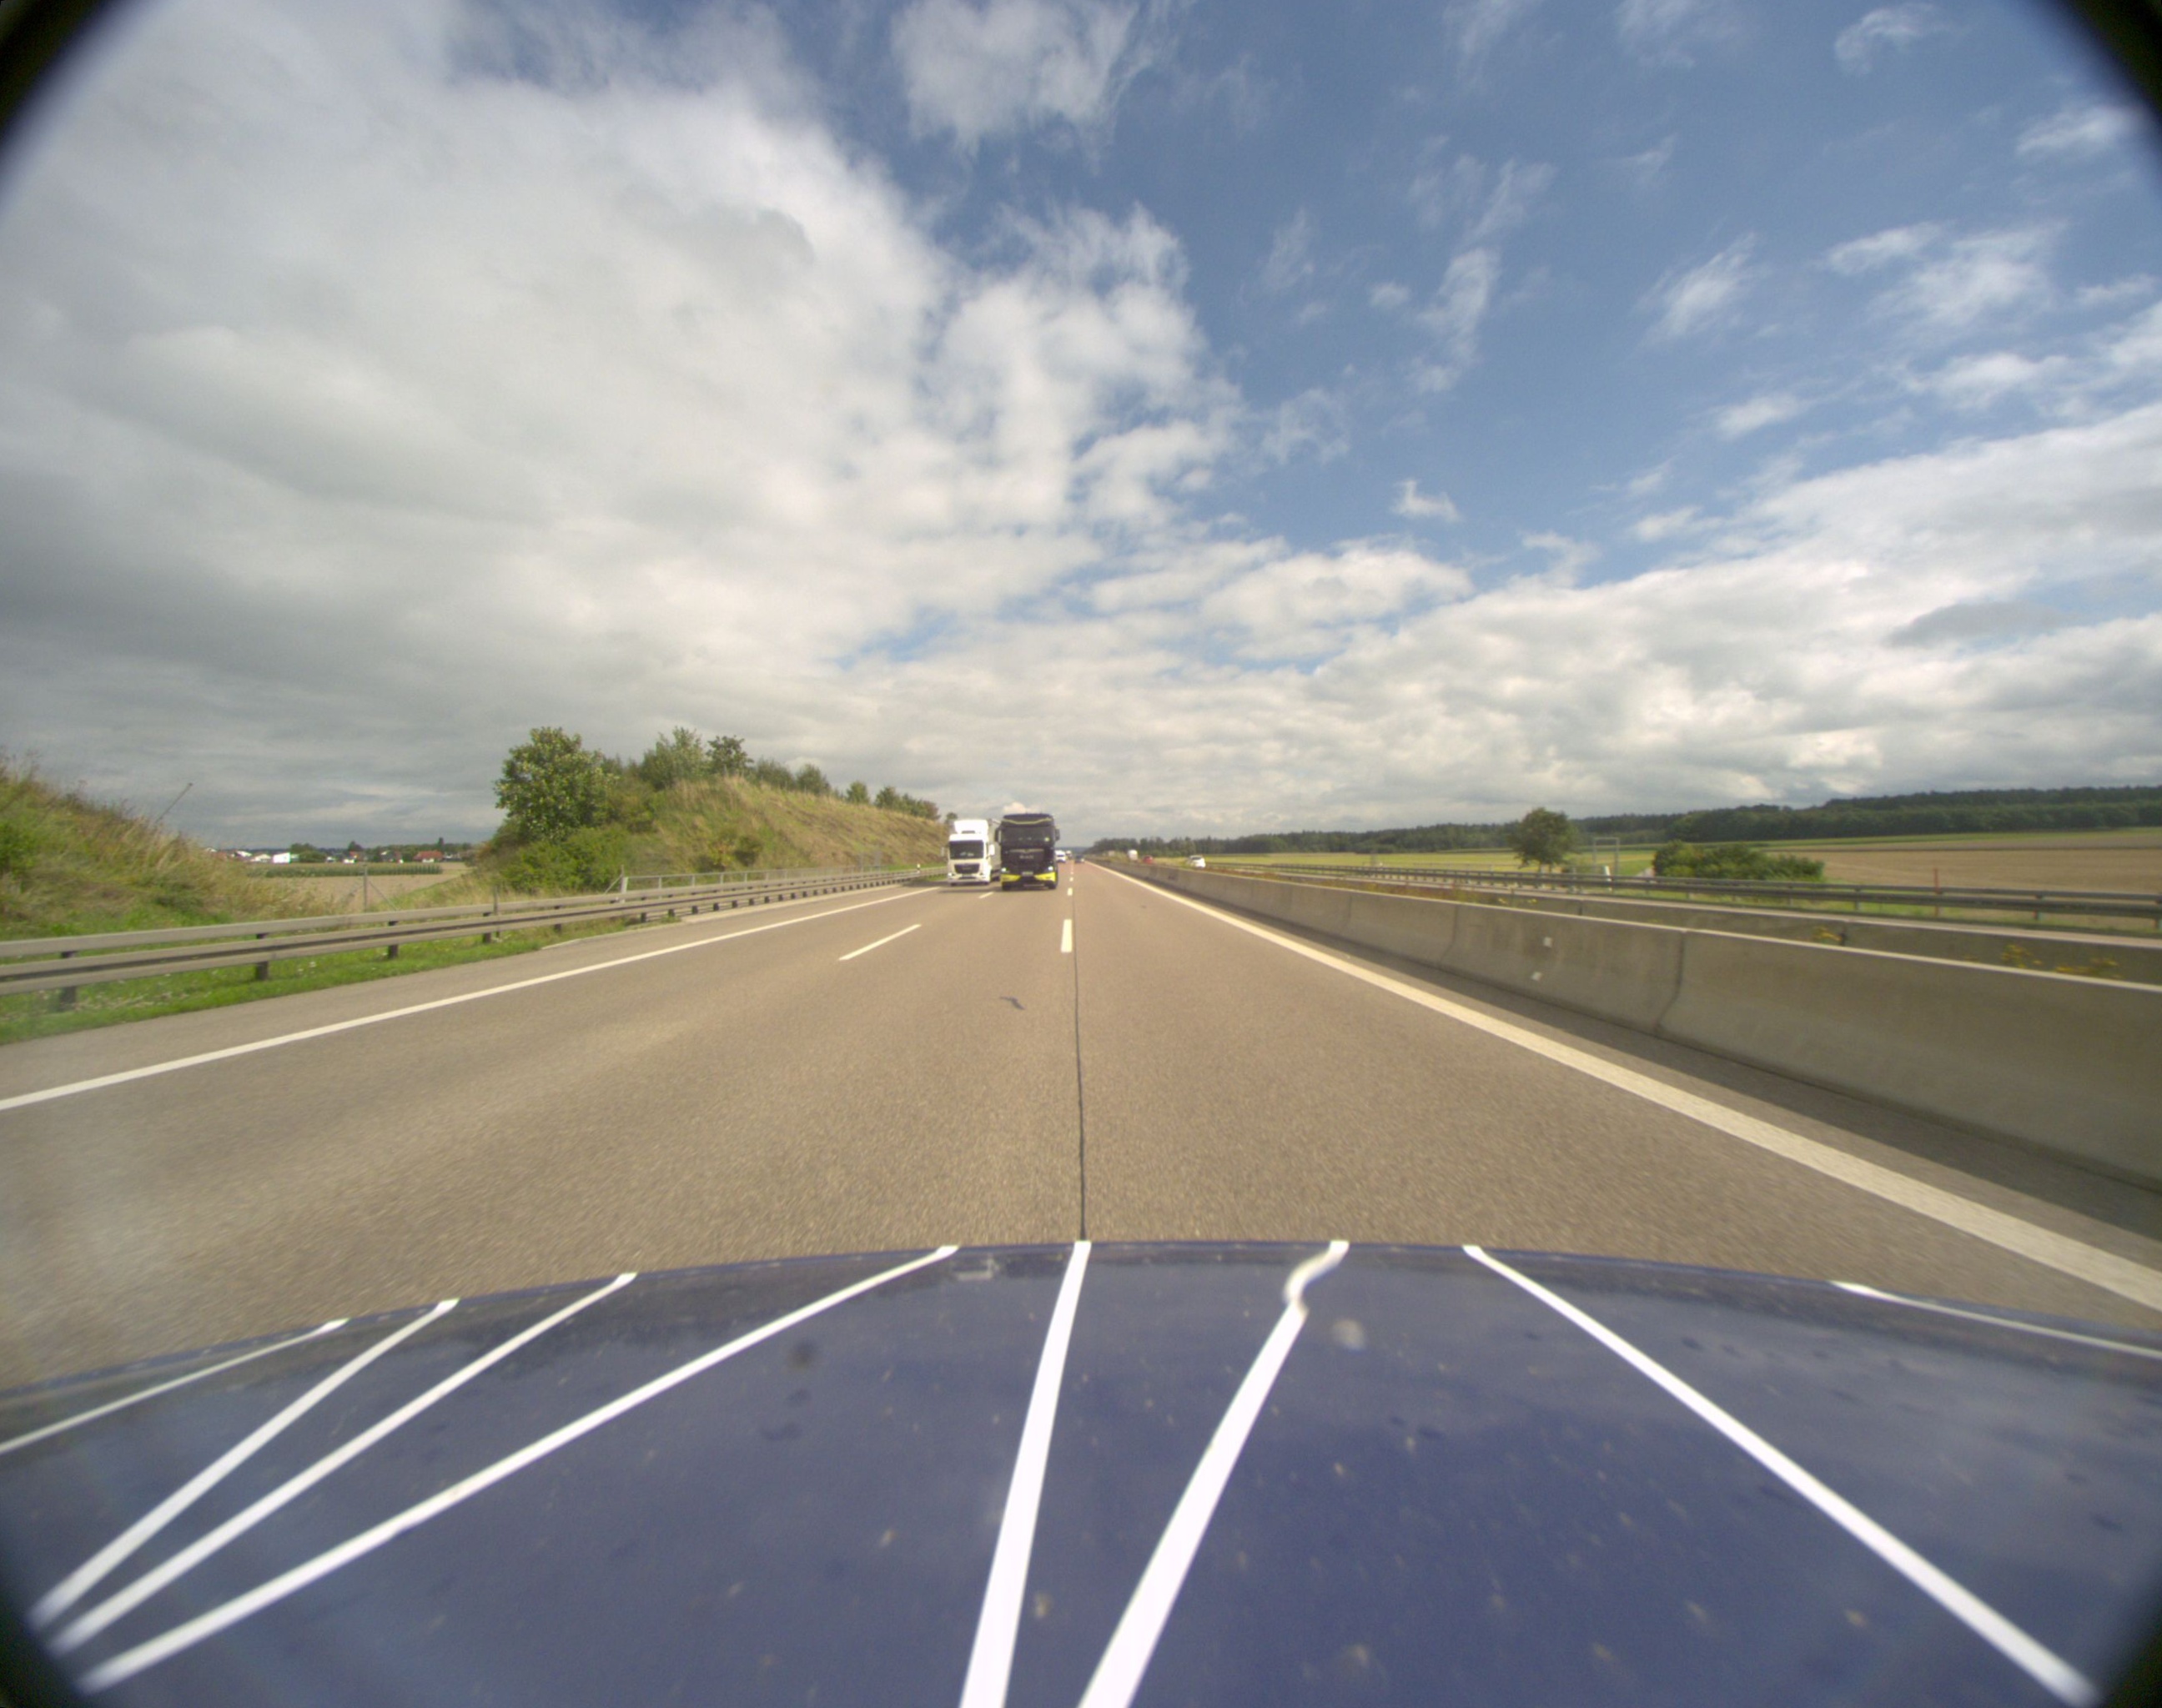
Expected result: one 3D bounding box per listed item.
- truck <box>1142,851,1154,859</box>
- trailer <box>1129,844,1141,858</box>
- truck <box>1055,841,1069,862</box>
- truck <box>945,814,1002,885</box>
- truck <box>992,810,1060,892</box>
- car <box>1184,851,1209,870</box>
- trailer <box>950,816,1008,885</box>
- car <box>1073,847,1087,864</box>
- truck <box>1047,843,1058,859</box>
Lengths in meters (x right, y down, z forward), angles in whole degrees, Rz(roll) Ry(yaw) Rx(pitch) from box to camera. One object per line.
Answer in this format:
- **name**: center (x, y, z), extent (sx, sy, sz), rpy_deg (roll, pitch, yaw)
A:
- **truck**: center (12.398, 0.198, 141.396), extent (1.711, 1.565, 4.981), rpy_deg (1, 0, -1)
- **trailer**: center (16.075, -0.841, 228.009), extent (2.899, 4.074, 11.036), rpy_deg (1, 0, 0)
- **truck**: center (-4.055, -0.511, 163.881), extent (2.681, 4.333, 11.807), rpy_deg (-3, 0, -1)
- **truck**: center (-6.275, -0.279, 44.986), extent (2.756, 3.869, 4.544), rpy_deg (-2, 1, -2)
- **truck**: center (-2.586, -0.152, 37.887), extent (2.855, 3.529, 8.317), rpy_deg (-2, 1, -2)
- **car**: center (12.852, 0.703, 84.762), extent (1.998, 2.058, 4.711), rpy_deg (0, 0, 0)
- **trailer**: center (-6.432, -0.246, 49.378), extent (2.755, 3.989, 8.667), rpy_deg (-2, 1, -2)
- **car**: center (-0.185, 0.294, 156.316), extent (2.773, 3.260, 6.392), rpy_deg (-3, 0, 0)
- **truck**: center (-7.459, -0.758, 198.588), extent (2.681, 4.082, 6.615), rpy_deg (-2, 0, -1)
